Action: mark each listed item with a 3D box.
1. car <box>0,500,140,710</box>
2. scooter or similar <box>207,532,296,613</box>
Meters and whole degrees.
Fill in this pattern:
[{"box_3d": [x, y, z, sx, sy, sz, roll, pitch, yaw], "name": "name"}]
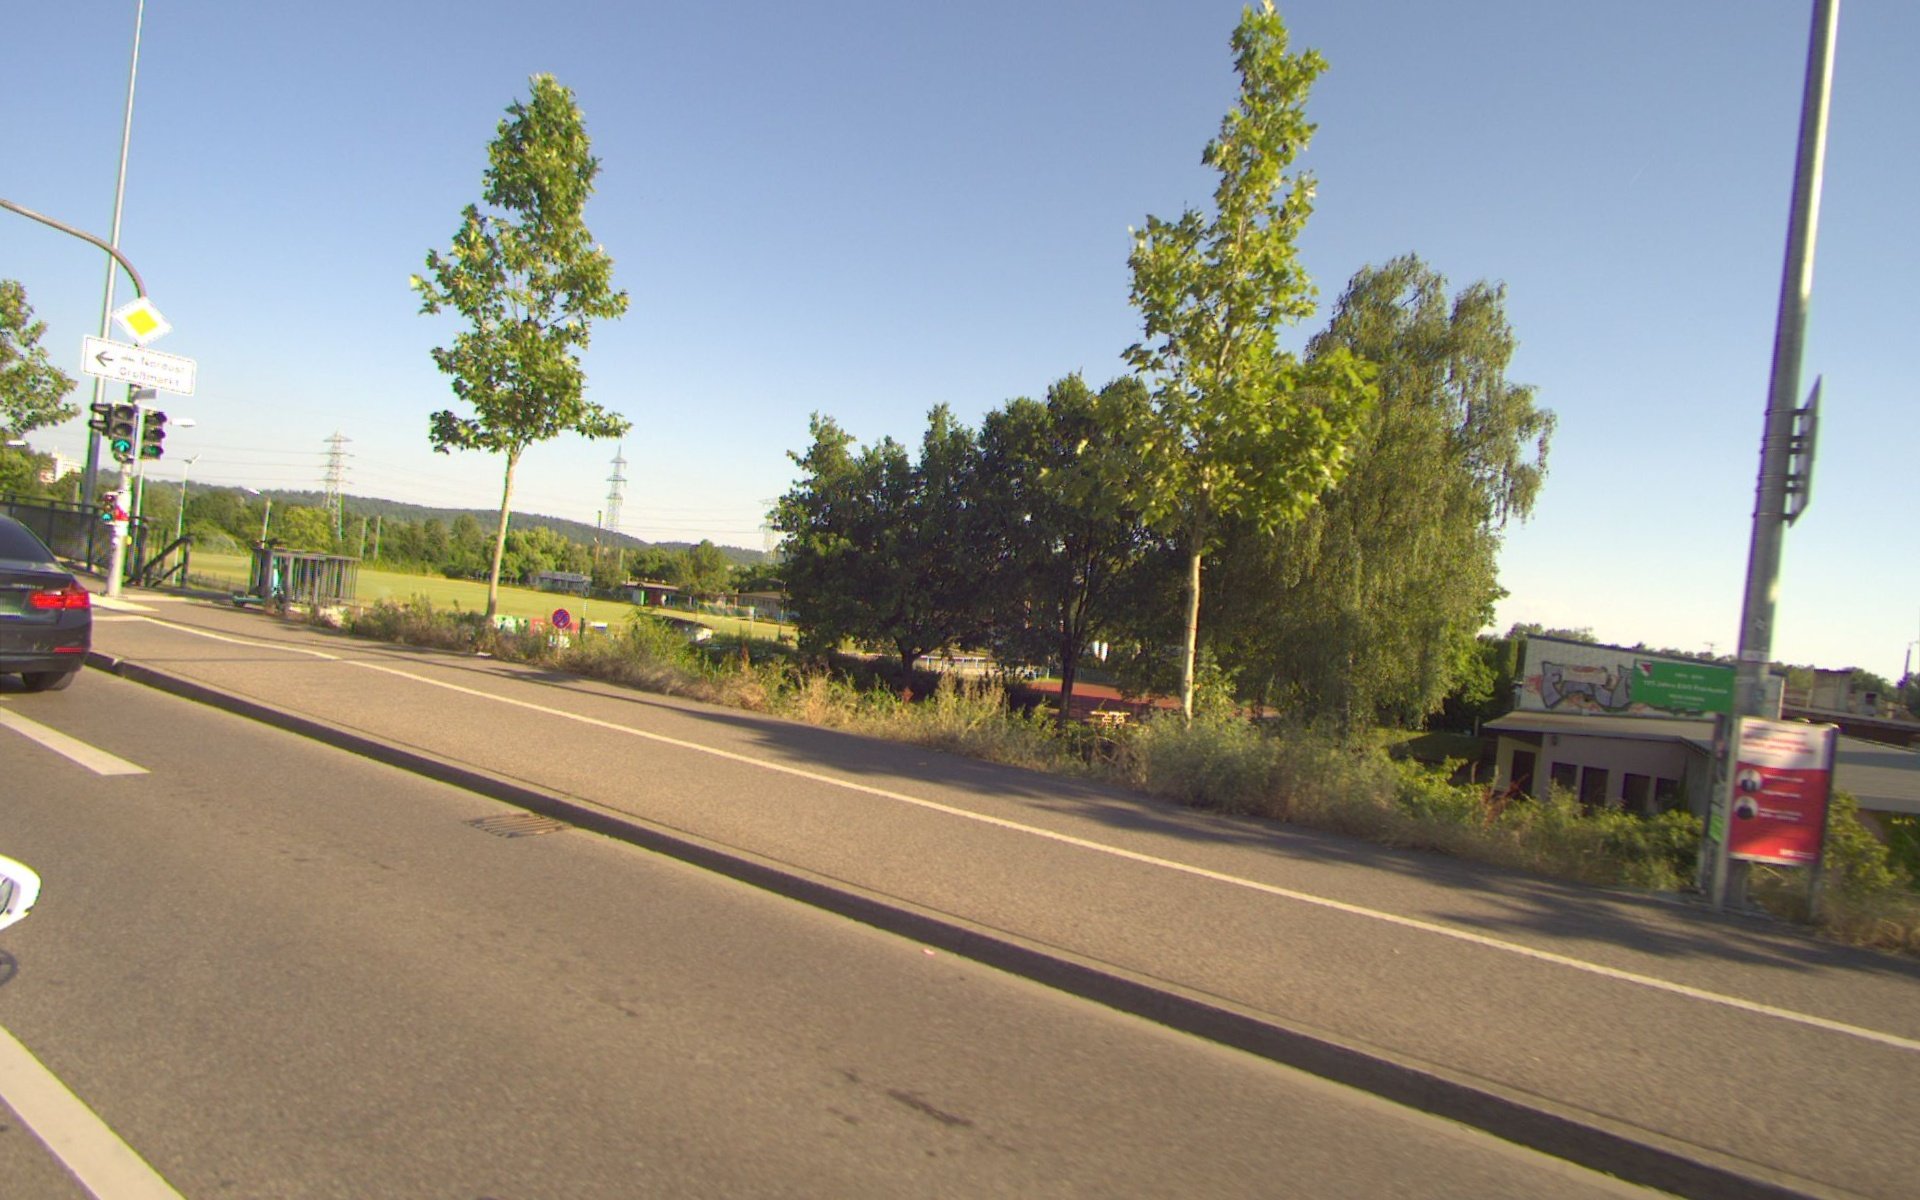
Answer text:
[{"box_3d": [-8.838, -0.189, 8.200, 4.510, 1.485, 1.869, 7, -1, 32], "name": "car"}, {"box_3d": [-12.175, -0.465, 17.300, 1.243, 1.246, 0.525, 7, 1, 18], "name": "scooter or similar"}]
